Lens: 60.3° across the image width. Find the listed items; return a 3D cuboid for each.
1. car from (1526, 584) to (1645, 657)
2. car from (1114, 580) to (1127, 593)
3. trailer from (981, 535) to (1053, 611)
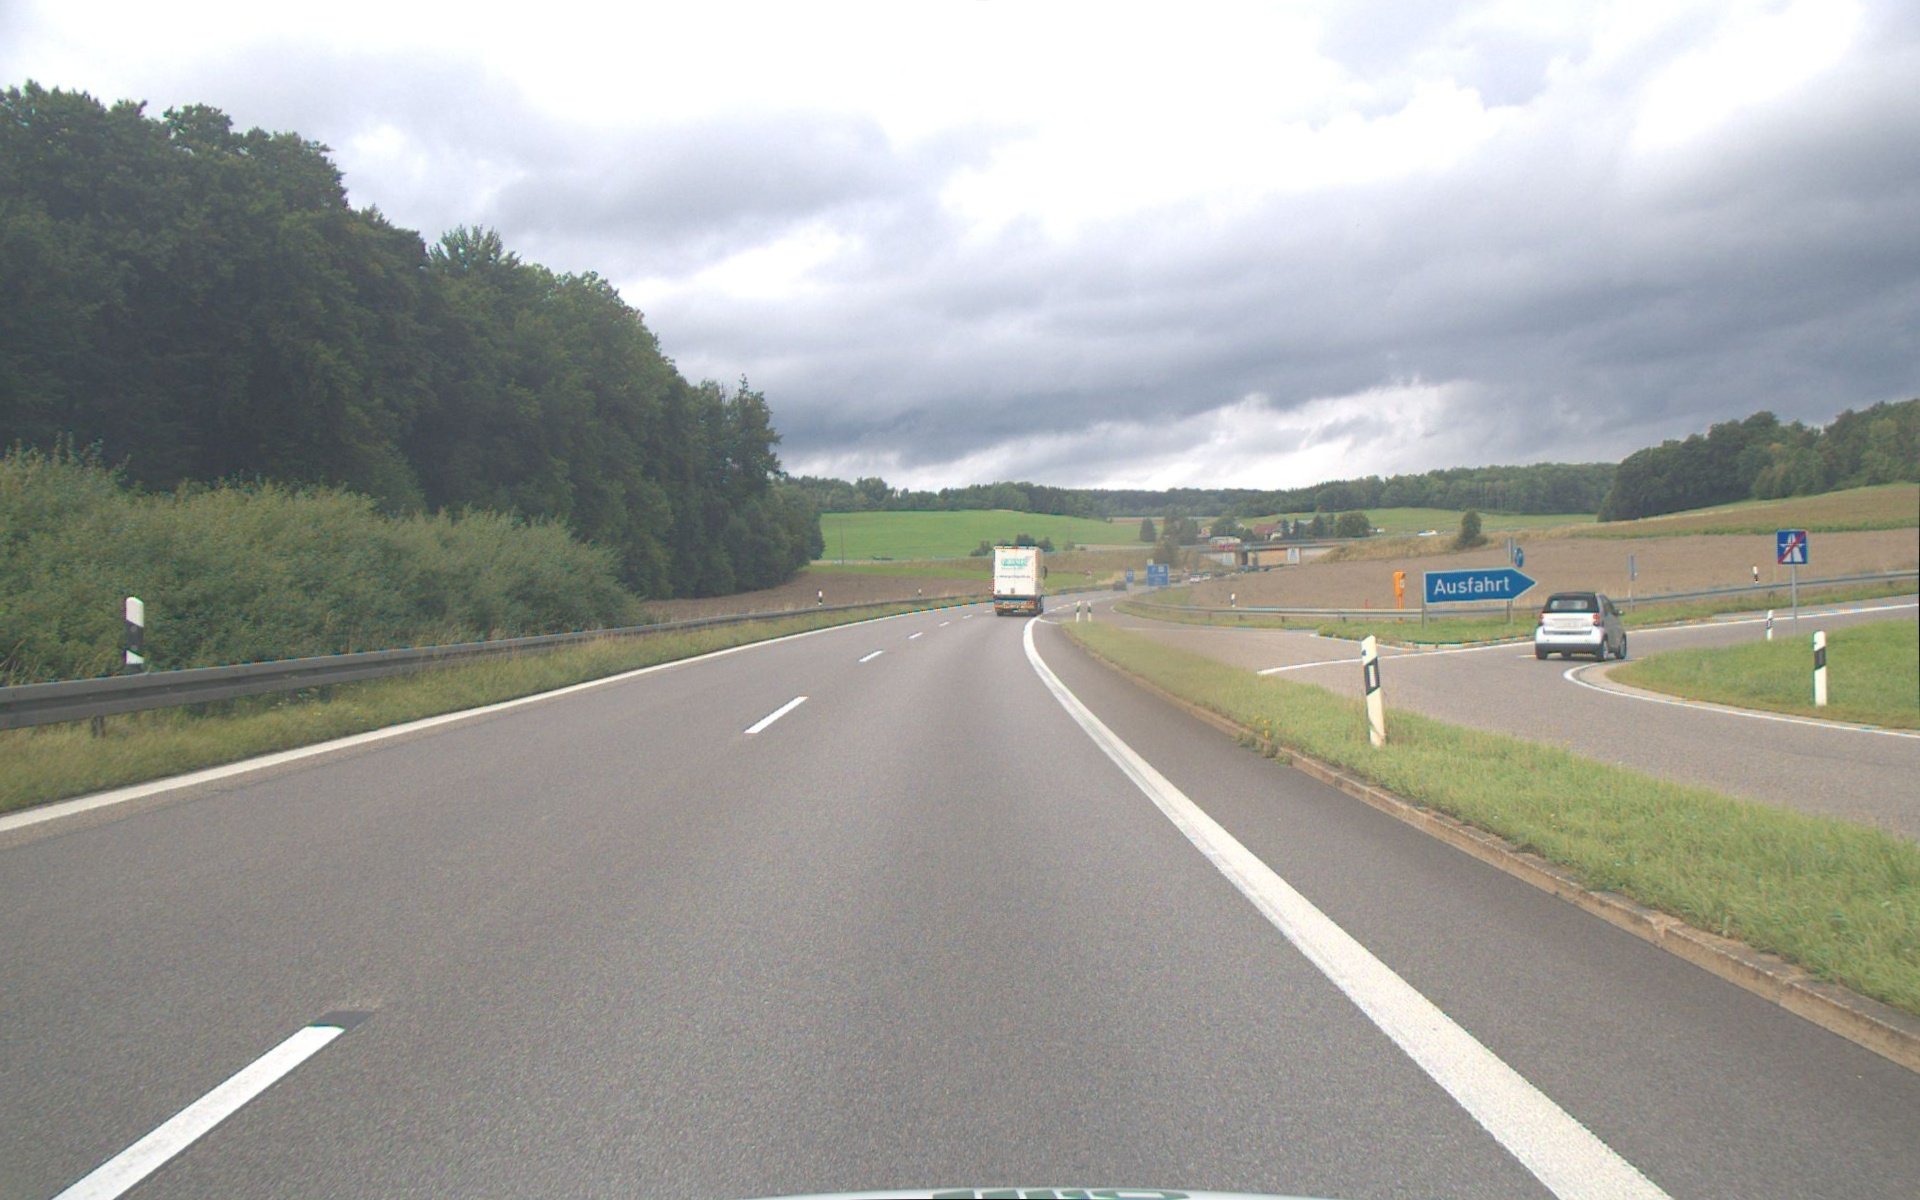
[{"bbox_3d":[14.925,0.456,39.358,1.747,1.579,3.987,-1,1,35],"label":"car"},{"bbox_3d":[25.118,-2.142,259.048,1.862,1.827,4.002,0,-1,6],"label":"car"},{"bbox_3d":[3.644,-1.590,101.288,3.725,4.247,14.816,1,0,4],"label":"trailer"}]
